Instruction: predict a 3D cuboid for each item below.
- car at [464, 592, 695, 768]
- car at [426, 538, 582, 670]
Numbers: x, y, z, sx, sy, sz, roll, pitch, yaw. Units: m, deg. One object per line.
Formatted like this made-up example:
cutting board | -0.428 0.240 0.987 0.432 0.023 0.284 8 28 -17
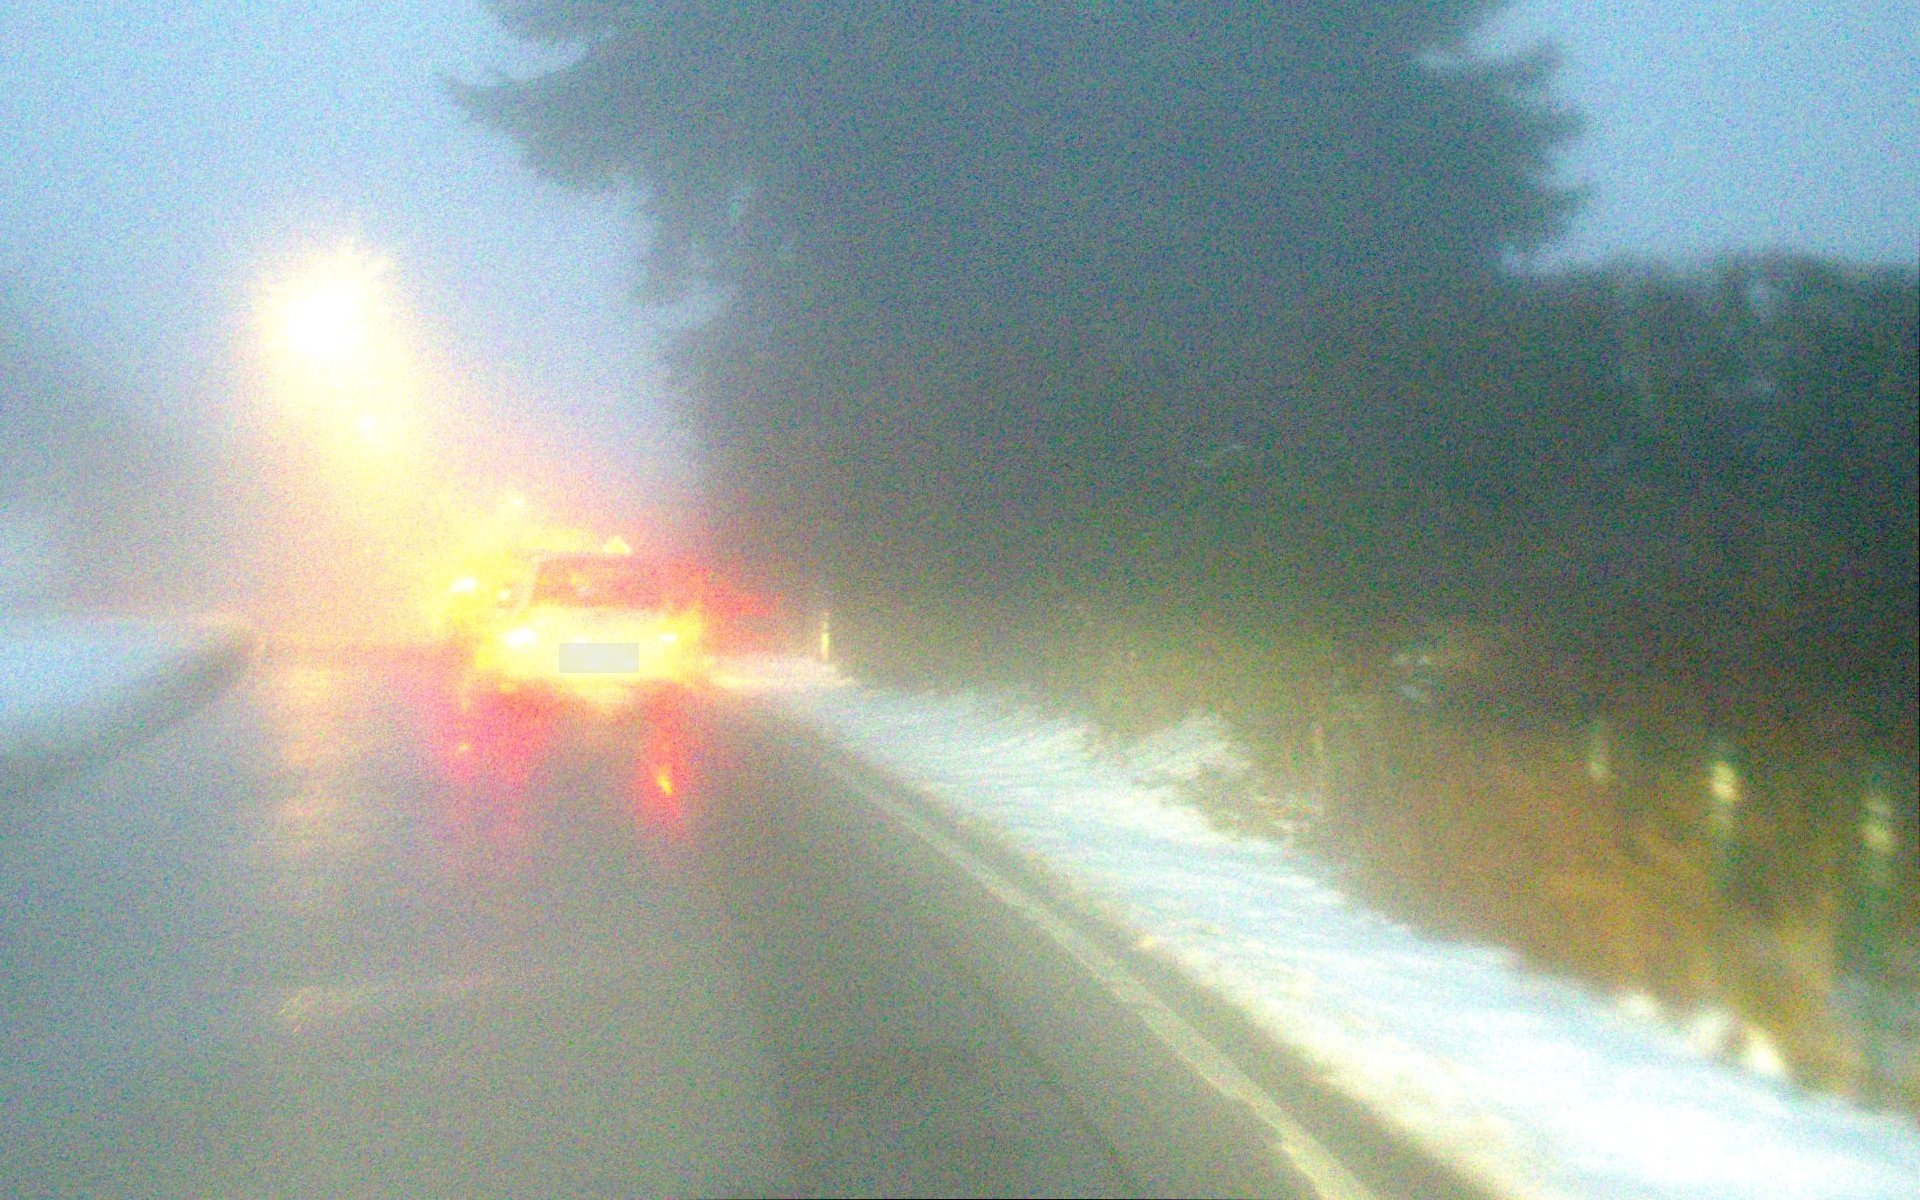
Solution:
car | -3.527 0.694 31.876 1.993 1.503 4.001 0 0 -6
car | -6.264 0.038 47.623 1.993 1.744 4.001 0 0 -5
